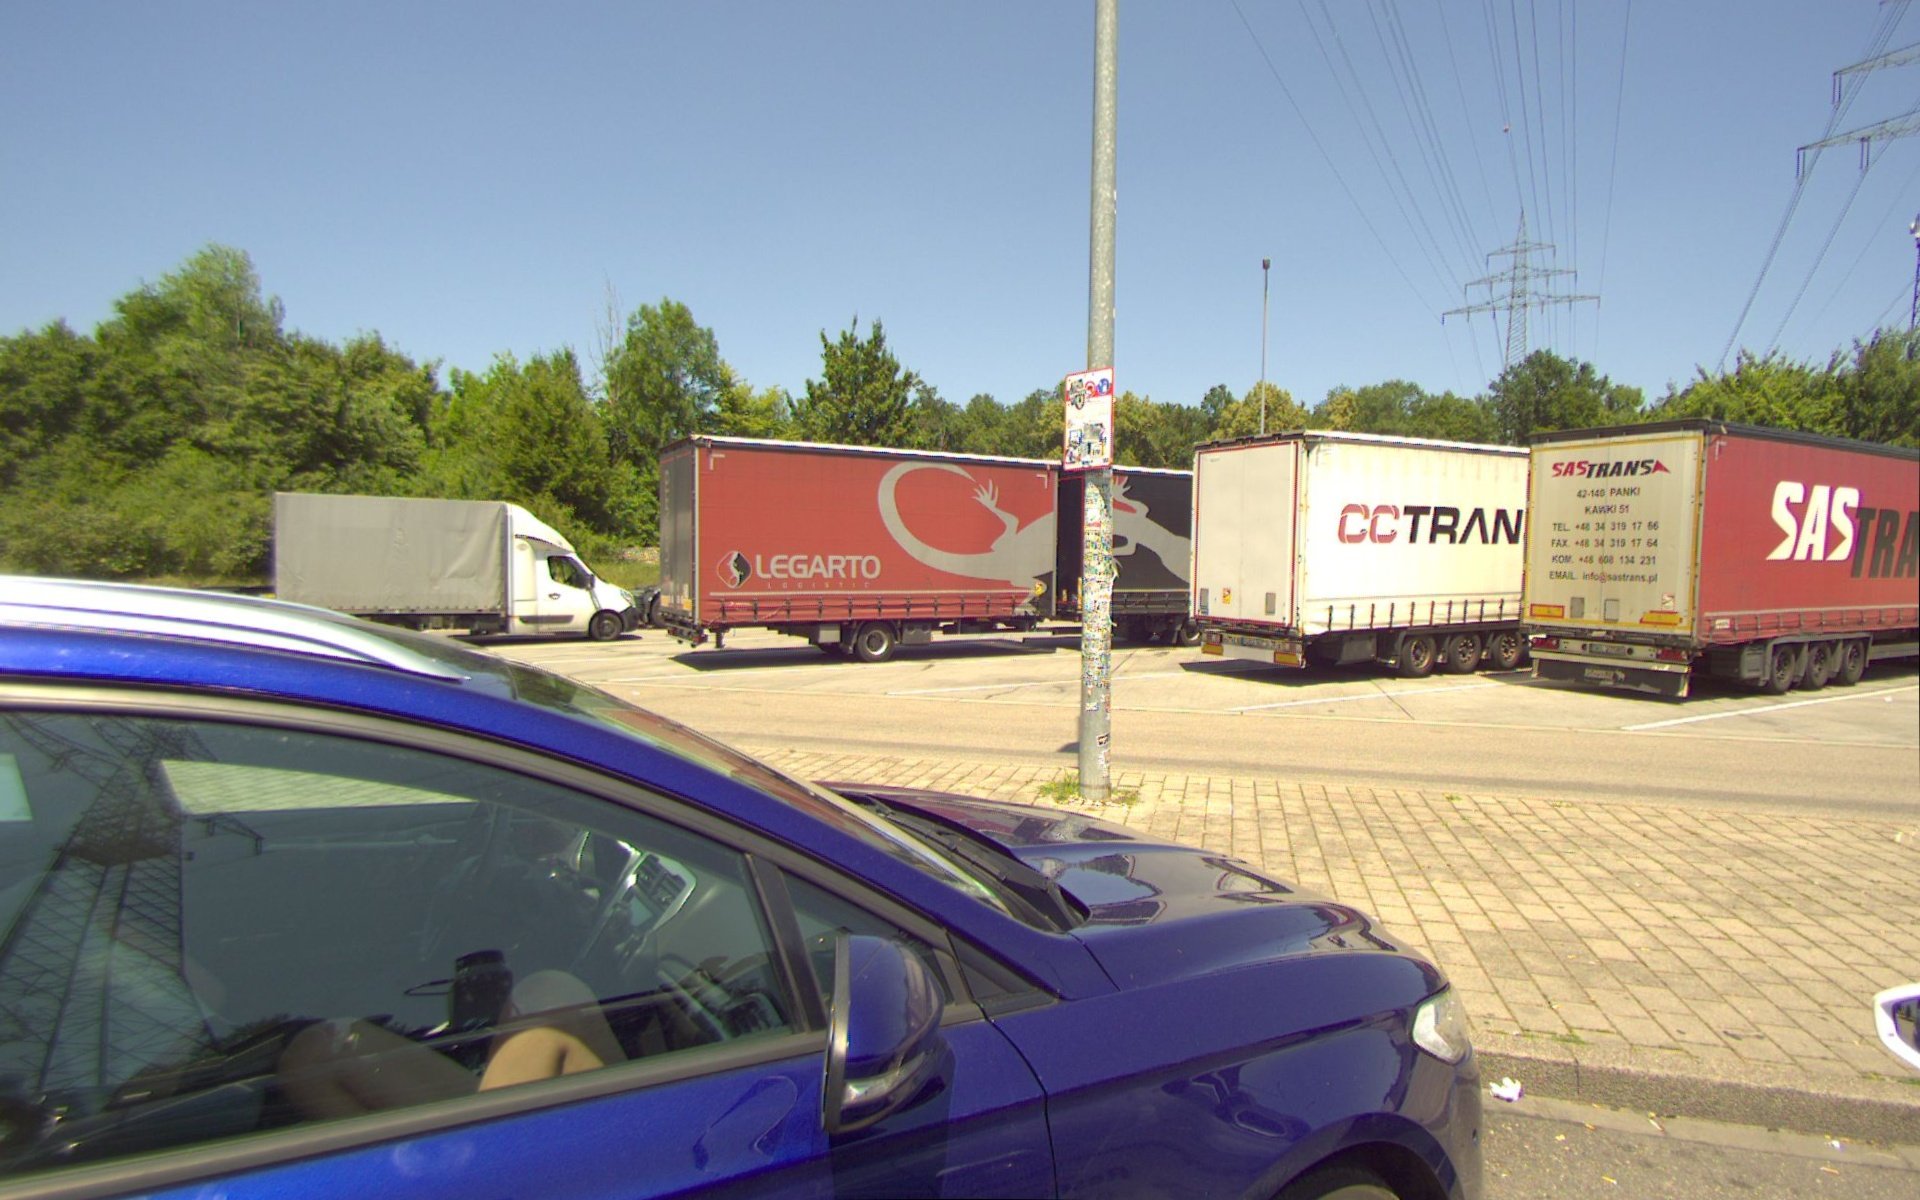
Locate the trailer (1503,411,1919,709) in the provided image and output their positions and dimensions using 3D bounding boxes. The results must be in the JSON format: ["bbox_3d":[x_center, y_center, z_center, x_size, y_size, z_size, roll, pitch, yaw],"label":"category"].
[{"bbox_3d":[15.460,-0.671,18.613,13.599,4.127,2.807,-1,3,-31],"label":"trailer"}]

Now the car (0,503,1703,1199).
[{"bbox_3d":[-0.978,0.657,1.453,4.522,1.491,1.743,0,2,-32],"label":"car"}]

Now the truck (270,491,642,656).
[{"bbox_3d":[-11.245,-0.611,22.995,7.187,3.289,2.694,-1,3,-29],"label":"truck"}]

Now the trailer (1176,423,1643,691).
[{"bbox_3d":[8.966,-0.763,19.346,10.264,4.158,2.693,-1,3,-30],"label":"trailer"}]

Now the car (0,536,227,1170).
[{"bbox_3d":[-4.419,0.585,2.090,4.522,1.526,1.743,0,2,-32],"label":"car"}]

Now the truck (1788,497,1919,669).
[{"bbox_3d":[21.252,-0.399,22.050,5.903,3.409,2.798,-1,3,-30],"label":"truck"}]

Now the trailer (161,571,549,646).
[{"bbox_3d":[-14.756,0.117,25.234,8.007,1.648,2.199,-1,3,-30],"label":"trailer"}]

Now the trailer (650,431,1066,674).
[{"bbox_3d":[-1.888,-0.894,20.332,8.007,4.127,2.693,-1,3,-30],"label":"trailer"}]

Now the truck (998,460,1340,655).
[{"bbox_3d":[5.265,-0.990,24.541,8.586,4.127,2.693,-1,3,-30],"label":"truck"}]
